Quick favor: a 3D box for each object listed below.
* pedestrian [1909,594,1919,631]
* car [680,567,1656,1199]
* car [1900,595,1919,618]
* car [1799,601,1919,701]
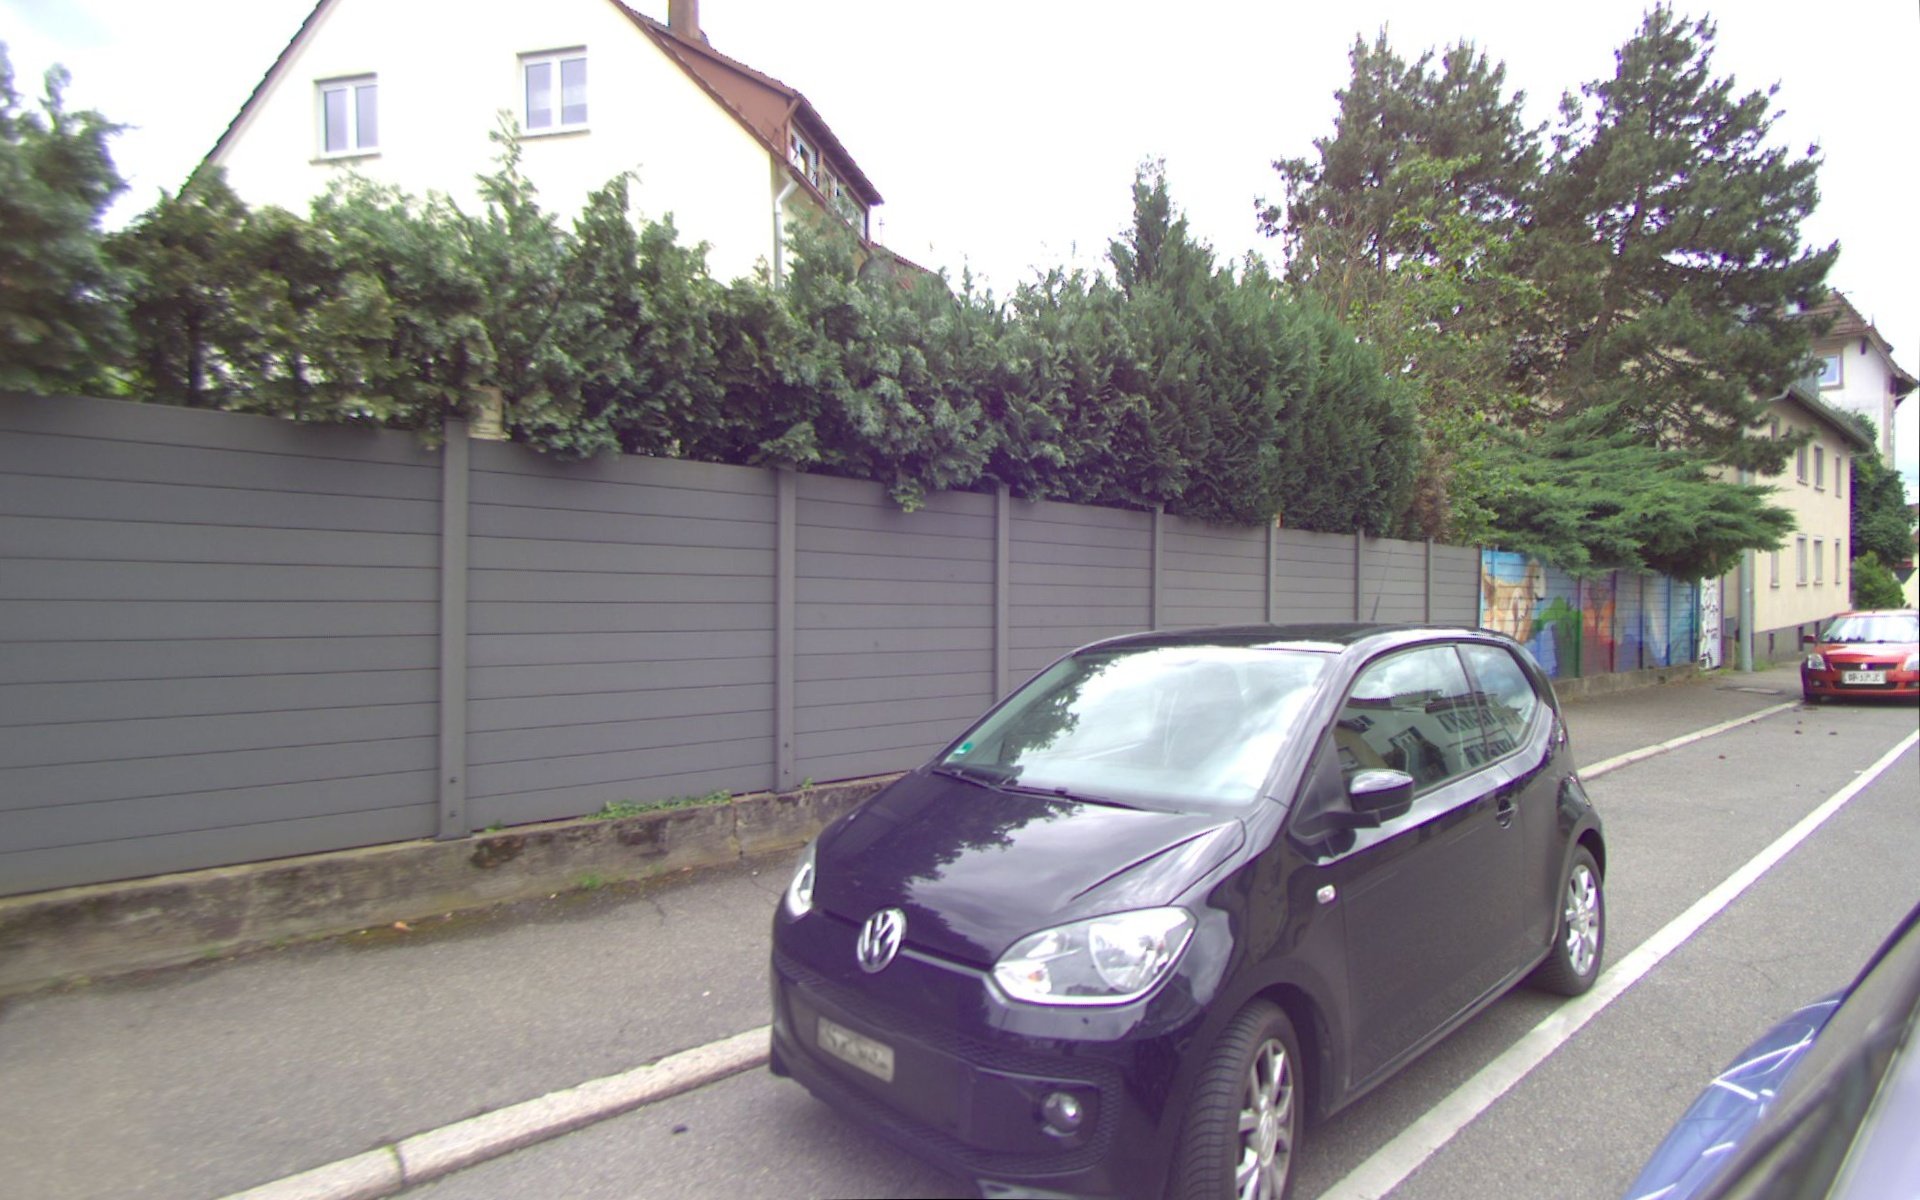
[{"bbox_3d":[45.569,0.597,47.854,0.855,1.755,1.008,0,-2,37],"label":"pedestrian"},{"bbox_3d":[1.146,0.641,3.872,3.934,1.470,1.760,-1,1,-44],"label":"car"},{"bbox_3d":[77.072,0.557,81.038,1.707,1.753,3.958,0,-1,29],"label":"car"},{"bbox_3d":[15.473,0.760,16.801,3.931,1.470,1.761,0,-1,-41],"label":"car"}]
